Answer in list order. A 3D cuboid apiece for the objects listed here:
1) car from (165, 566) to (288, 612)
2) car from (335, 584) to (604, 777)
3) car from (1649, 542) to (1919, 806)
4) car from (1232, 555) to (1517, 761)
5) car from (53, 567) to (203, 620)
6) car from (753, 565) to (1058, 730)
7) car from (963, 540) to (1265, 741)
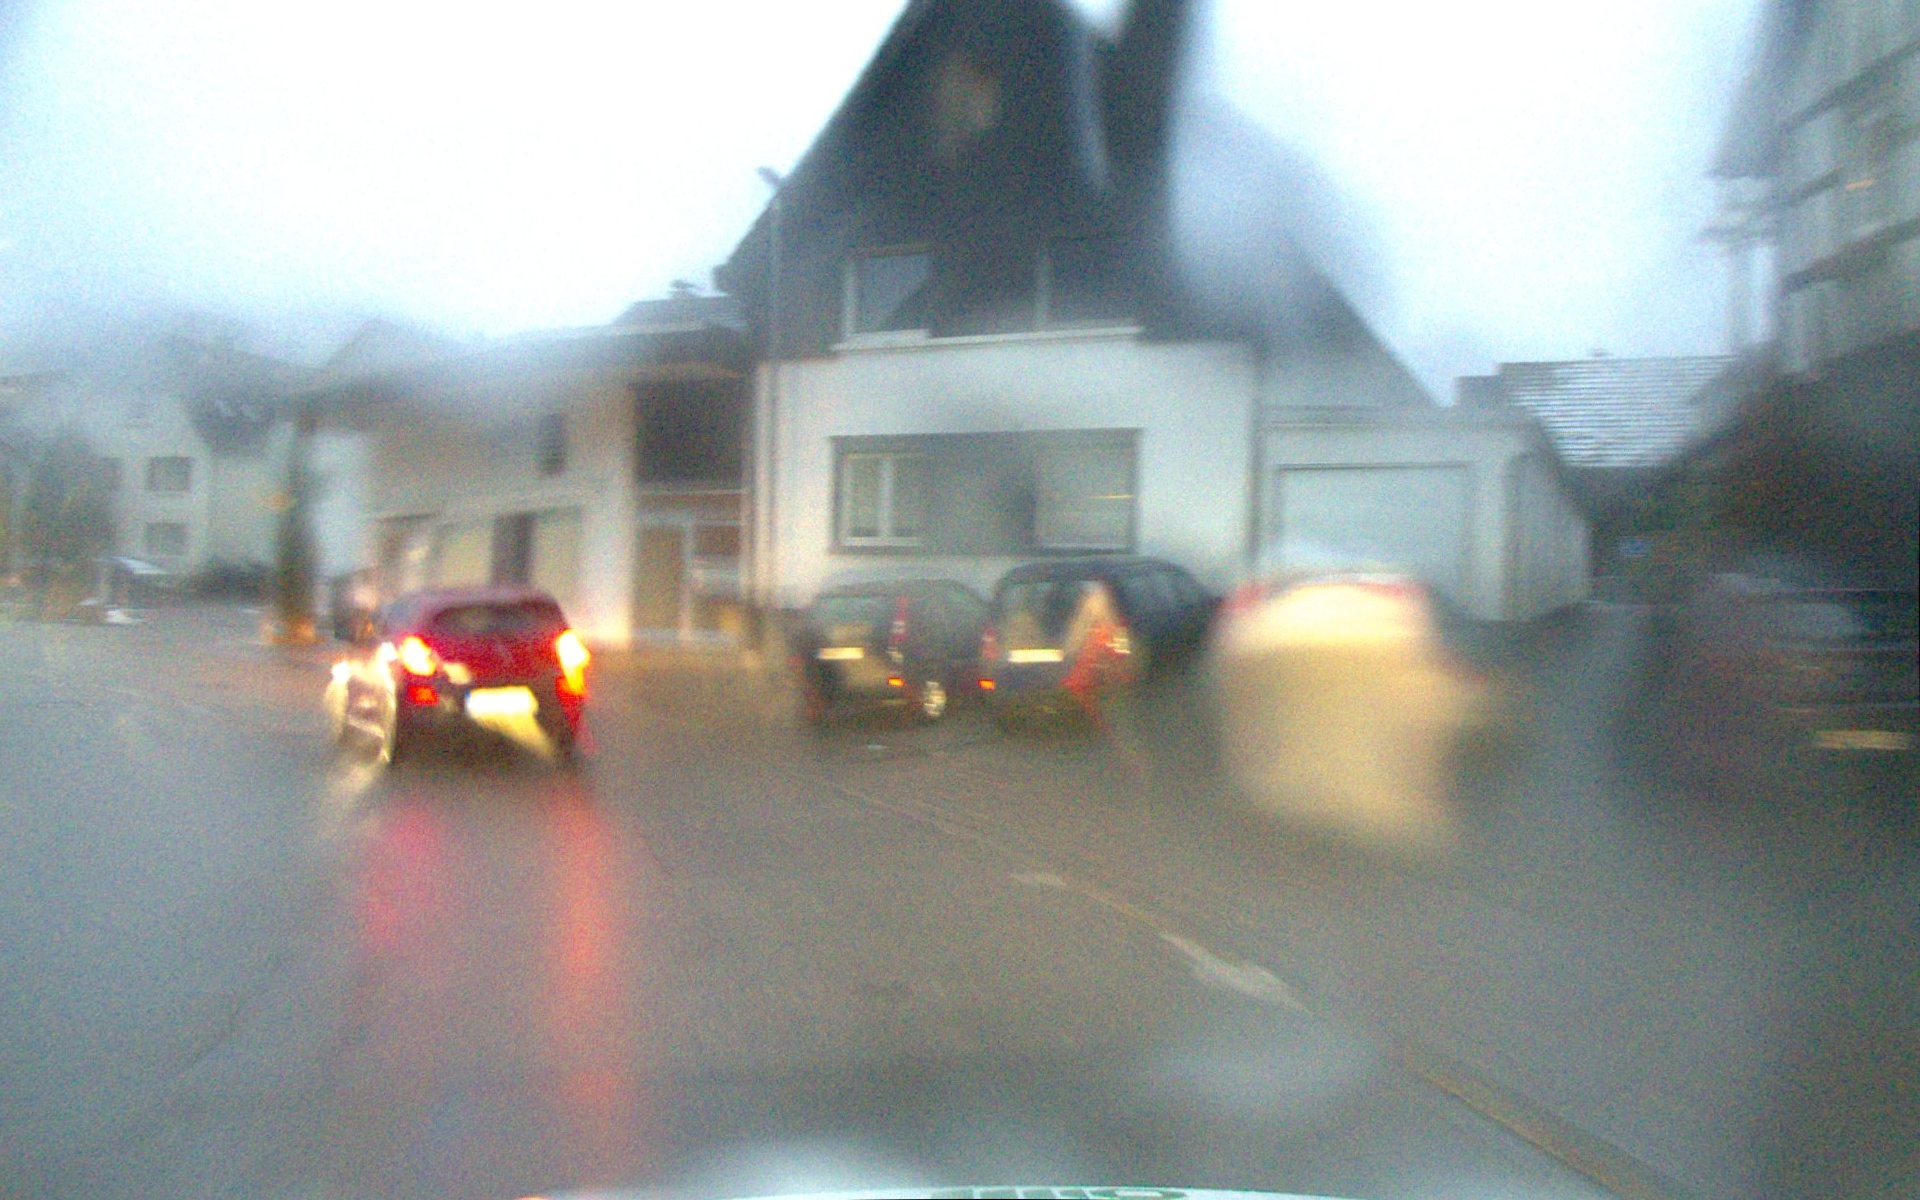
[{"bbox_3d":[-27.078,-0.415,61.072,3.903,1.594,1.816,1,2,17],"label":"car"},{"bbox_3d":[-4.517,0.634,14.890,1.529,1.491,3.662,2,0,-29],"label":"car"},{"bbox_3d":[6.170,0.413,12.259,1.559,1.541,3.988,-2,3,17],"label":"car"},{"bbox_3d":[3.843,0.415,14.822,1.773,1.445,4.037,-2,3,24],"label":"car"},{"bbox_3d":[-27.662,-0.242,55.020,4.441,1.657,1.816,1,2,17],"label":"car"},{"bbox_3d":[-0.473,0.456,18.445,1.845,1.475,3.893,-2,3,24],"label":"car"},{"bbox_3d":[1.751,0.310,17.120,1.812,1.689,4.477,-2,3,23],"label":"car"}]
